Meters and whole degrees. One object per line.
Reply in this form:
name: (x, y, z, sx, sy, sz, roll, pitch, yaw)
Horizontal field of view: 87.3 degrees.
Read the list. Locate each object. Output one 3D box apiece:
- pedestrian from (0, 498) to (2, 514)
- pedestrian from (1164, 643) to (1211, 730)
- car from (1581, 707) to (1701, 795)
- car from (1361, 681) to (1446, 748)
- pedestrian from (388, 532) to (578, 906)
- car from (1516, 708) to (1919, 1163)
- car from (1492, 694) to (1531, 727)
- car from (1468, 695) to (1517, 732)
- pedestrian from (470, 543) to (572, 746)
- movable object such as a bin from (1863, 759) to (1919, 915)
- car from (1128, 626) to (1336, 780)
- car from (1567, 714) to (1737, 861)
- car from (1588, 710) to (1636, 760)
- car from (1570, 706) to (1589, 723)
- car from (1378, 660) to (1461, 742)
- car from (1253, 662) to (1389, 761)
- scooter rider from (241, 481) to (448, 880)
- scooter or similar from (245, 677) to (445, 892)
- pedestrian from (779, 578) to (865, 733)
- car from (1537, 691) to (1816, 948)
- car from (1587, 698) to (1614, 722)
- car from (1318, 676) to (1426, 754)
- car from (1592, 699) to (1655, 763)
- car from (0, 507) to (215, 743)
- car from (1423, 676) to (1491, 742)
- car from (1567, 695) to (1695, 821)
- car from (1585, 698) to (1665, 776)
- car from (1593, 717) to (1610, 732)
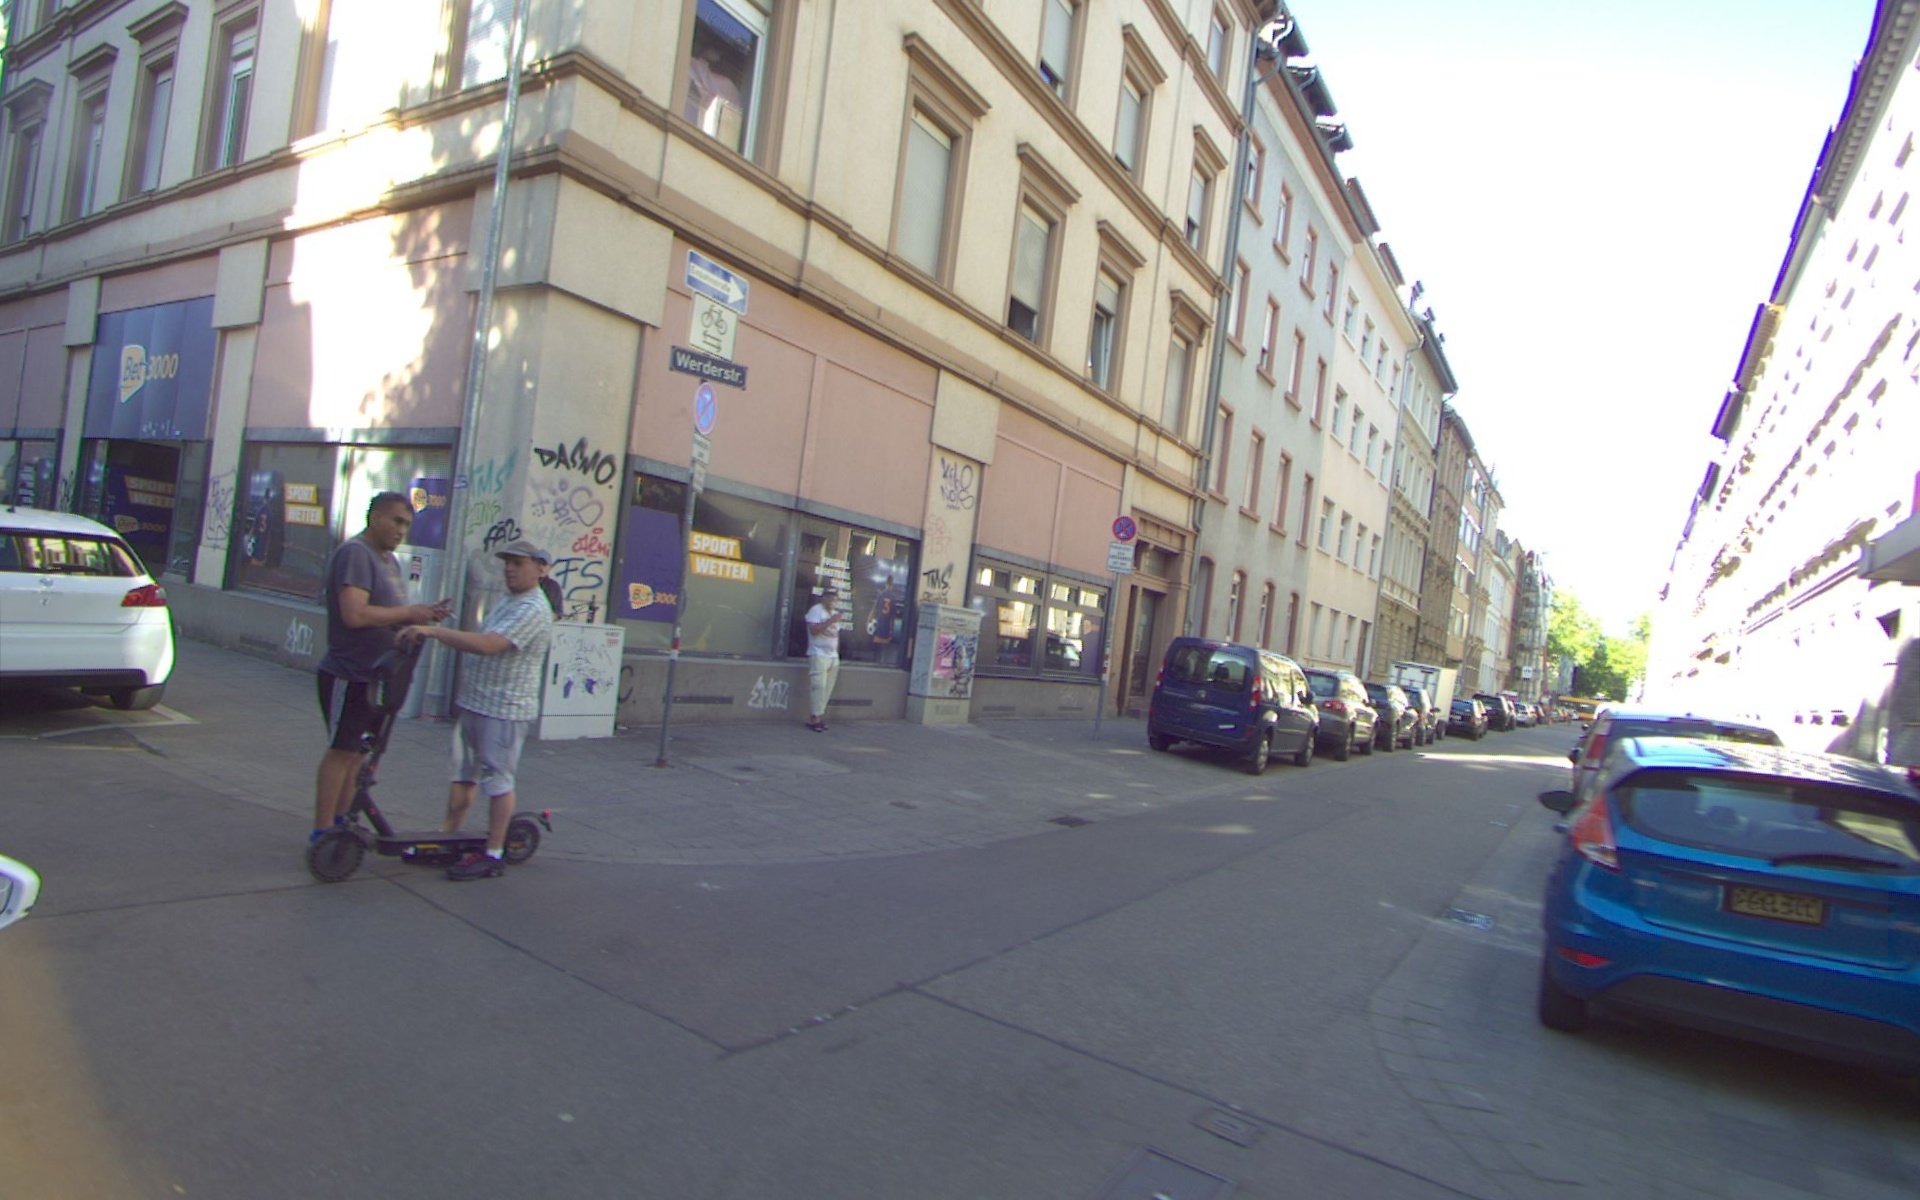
pedestrian: (-16.905, -1.031, 17.094, 0.647, 1.547, 0.589, 6, -2, 28)
pedestrian: (4.623, 1.757, 20.420, 0.457, 1.676, 0.842, 7, -1, 35)
car: (15.277, 3.365, 22.737, 1.968, 1.543, 3.635, 6, -3, 33)
car: (12.820, 3.290, 28.978, 1.561, 1.624, 3.578, 6, -2, 33)
pedestrian: (-2.279, 0.559, 4.877, 0.520, 1.657, 0.564, 7, -2, -12)
car: (4.254, 1.476, 5.477, 1.760, 1.503, 3.578, 6, -2, 34)
car: (34.067, 6.829, 62.100, 1.706, 1.773, 3.268, 6, -2, 34)
car: (26.111, 5.569, 49.312, 1.706, 1.521, 3.268, 6, -2, 34)
pedestrian: (-3.819, 0.379, 8.761, 0.593, 1.670, 0.462, 8, 1, -25)
movable object such as a bin: (8.820, 2.152, 9.032, 0.848, 1.298, 1.019, 5, -3, 34)
car: (4.435, 1.617, 15.980, 1.838, 1.862, 3.930, 9, 0, 34)
car: (9.248, 2.382, 13.587, 1.534, 1.472, 3.982, 6, -2, 33)
car: (31.480, 6.532, 48.657, 1.704, 2.055, 4.194, 6, -3, 33)
car: (85.213, 15.714, 138.276, 1.968, 1.936, 3.994, 6, -3, 33)
car: (15.400, 3.386, 33.646, 1.807, 2.408, 3.419, 6, -2, 34)
car: (7.353, 2.236, 20.274, 1.561, 1.630, 3.934, 6, -2, 33)
scooter rider: (-2.983, 0.389, 4.943, 0.557, 1.798, 0.609, 8, -2, -21)
scooter or similar: (-2.975, 0.854, 4.854, 0.911, 0.838, 0.394, 6, -2, 34)
pedestrian: (-1.633, 0.672, 11.933, 0.467, 1.745, 0.692, 6, -2, 33)
car: (6.482, 1.822, 9.324, 1.604, 1.649, 3.740, 7, -2, 34)
car: (62.537, 10.748, 98.206, 1.967, 2.036, 3.996, 6, -3, 32)
car: (10.012, 2.765, 24.285, 1.561, 1.541, 4.045, 6, -2, 33)
car: (24.920, 4.933, 37.897, 1.704, 2.055, 4.194, 6, -3, 33)
car: (-7.869, 0.025, 7.846, 4.068, 1.533, 1.791, 6, -3, 32)
car: (18.560, 4.067, 37.532, 1.706, 2.166, 3.268, 6, -2, 34)
car: (11.662, 2.663, 17.567, 1.534, 1.737, 3.982, 6, -2, 33)
car: (19.457, 4.005, 29.552, 1.704, 1.892, 3.939, 6, -3, 33)
car: (95.138, 18.422, 149.170, 1.968, 1.936, 3.994, 6, -3, 33)
